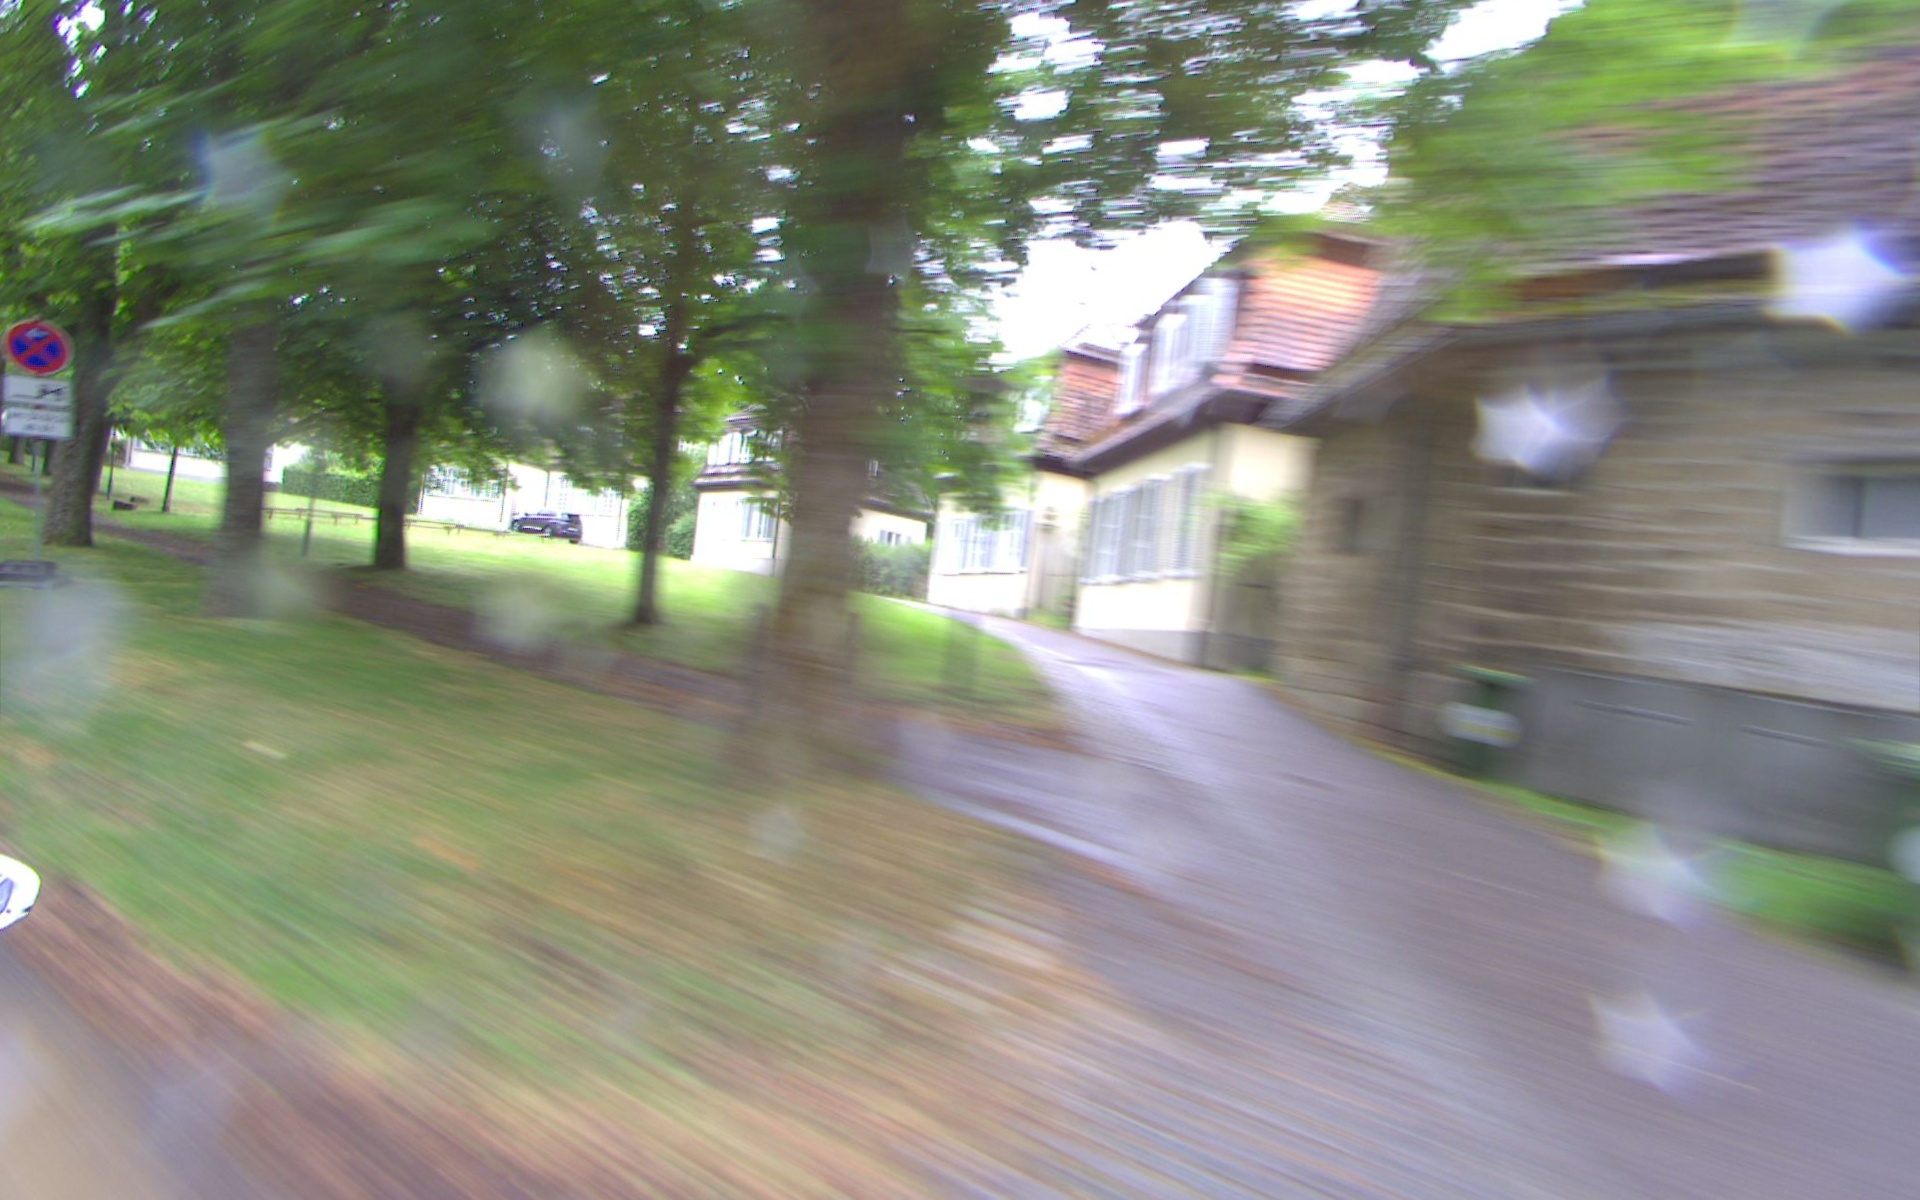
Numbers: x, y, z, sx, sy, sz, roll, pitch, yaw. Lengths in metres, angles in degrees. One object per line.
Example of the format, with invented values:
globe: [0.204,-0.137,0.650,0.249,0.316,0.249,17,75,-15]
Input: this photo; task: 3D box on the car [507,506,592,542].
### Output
car: [-22.119,-4.095,54.152,4.434,1.529,1.992,7,4,33]

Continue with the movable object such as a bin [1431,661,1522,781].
movable object such as a bin: [4.499,1.034,8.762,0.526,0.920,0.549,7,6,40]

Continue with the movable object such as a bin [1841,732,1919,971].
movable object such as a bin: [4.963,1.283,5.089,0.651,1.055,0.693,7,6,40]
